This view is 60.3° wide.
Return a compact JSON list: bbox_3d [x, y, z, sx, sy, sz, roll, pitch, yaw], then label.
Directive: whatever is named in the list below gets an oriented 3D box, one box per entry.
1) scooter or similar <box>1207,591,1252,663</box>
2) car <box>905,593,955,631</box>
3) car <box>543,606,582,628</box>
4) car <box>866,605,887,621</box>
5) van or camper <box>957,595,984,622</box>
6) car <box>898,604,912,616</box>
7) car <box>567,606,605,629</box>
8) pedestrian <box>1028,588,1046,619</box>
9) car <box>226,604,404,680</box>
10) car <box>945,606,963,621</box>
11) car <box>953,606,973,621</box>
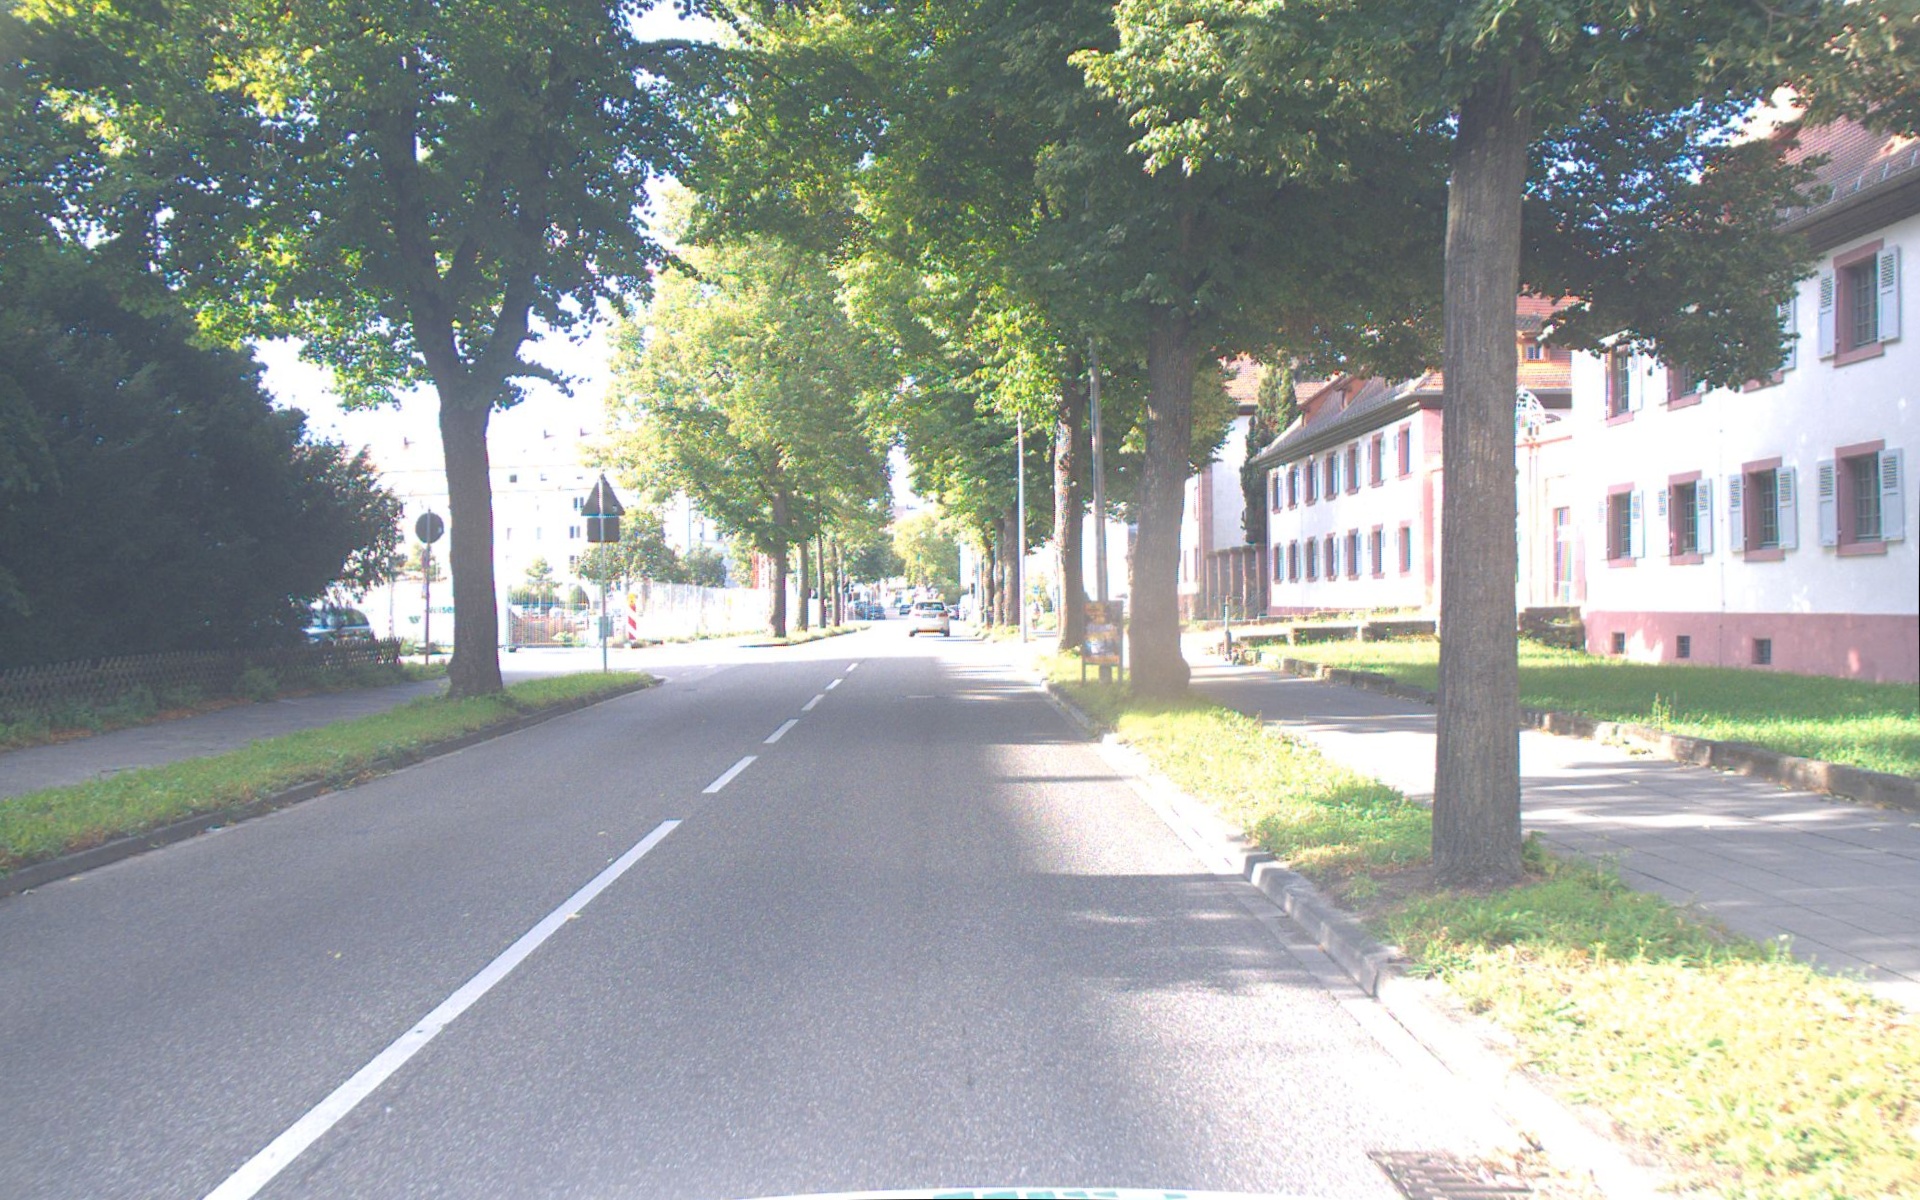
[{"bbox_3d":[5.052,0.495,31.069,0.567,1.314,1.381,-2,0,0],"label":"scooter or similar"},{"bbox_3d":[-1.334,0.529,72.145,1.954,1.582,4.270,0,-1,-4],"label":"car"},{"bbox_3d":[-38.303,1.641,159.462,1.951,2.049,4.003,-1,0,14],"label":"car"},{"bbox_3d":[-9.104,1.427,180.862,1.956,1.668,3.993,-1,0,-7],"label":"car"},{"bbox_3d":[1.021,0.846,164.742,2.166,2.653,5.366,-1,0,-5],"label":"van or camper"},{"bbox_3d":[-8.285,1.554,248.072,1.953,1.786,3.999,0,-1,-1],"label":"car"},{"bbox_3d":[-35.923,1.670,158.901,1.951,2.049,4.003,-1,0,14],"label":"car"},{"bbox_3d":[4.092,0.192,87.916,0.797,1.618,0.769,-3,-1,-2],"label":"pedestrian"},{"bbox_3d":[-13.611,0.890,35.206,1.952,1.454,4.508,-1,-1,1],"label":"car"},{"bbox_3d":[-0.673,1.544,186.183,1.953,1.601,3.998,-1,0,-2],"label":"car"},{"bbox_3d":[0.339,1.417,175.652,1.953,1.601,3.998,-1,0,-2],"label":"car"}]
